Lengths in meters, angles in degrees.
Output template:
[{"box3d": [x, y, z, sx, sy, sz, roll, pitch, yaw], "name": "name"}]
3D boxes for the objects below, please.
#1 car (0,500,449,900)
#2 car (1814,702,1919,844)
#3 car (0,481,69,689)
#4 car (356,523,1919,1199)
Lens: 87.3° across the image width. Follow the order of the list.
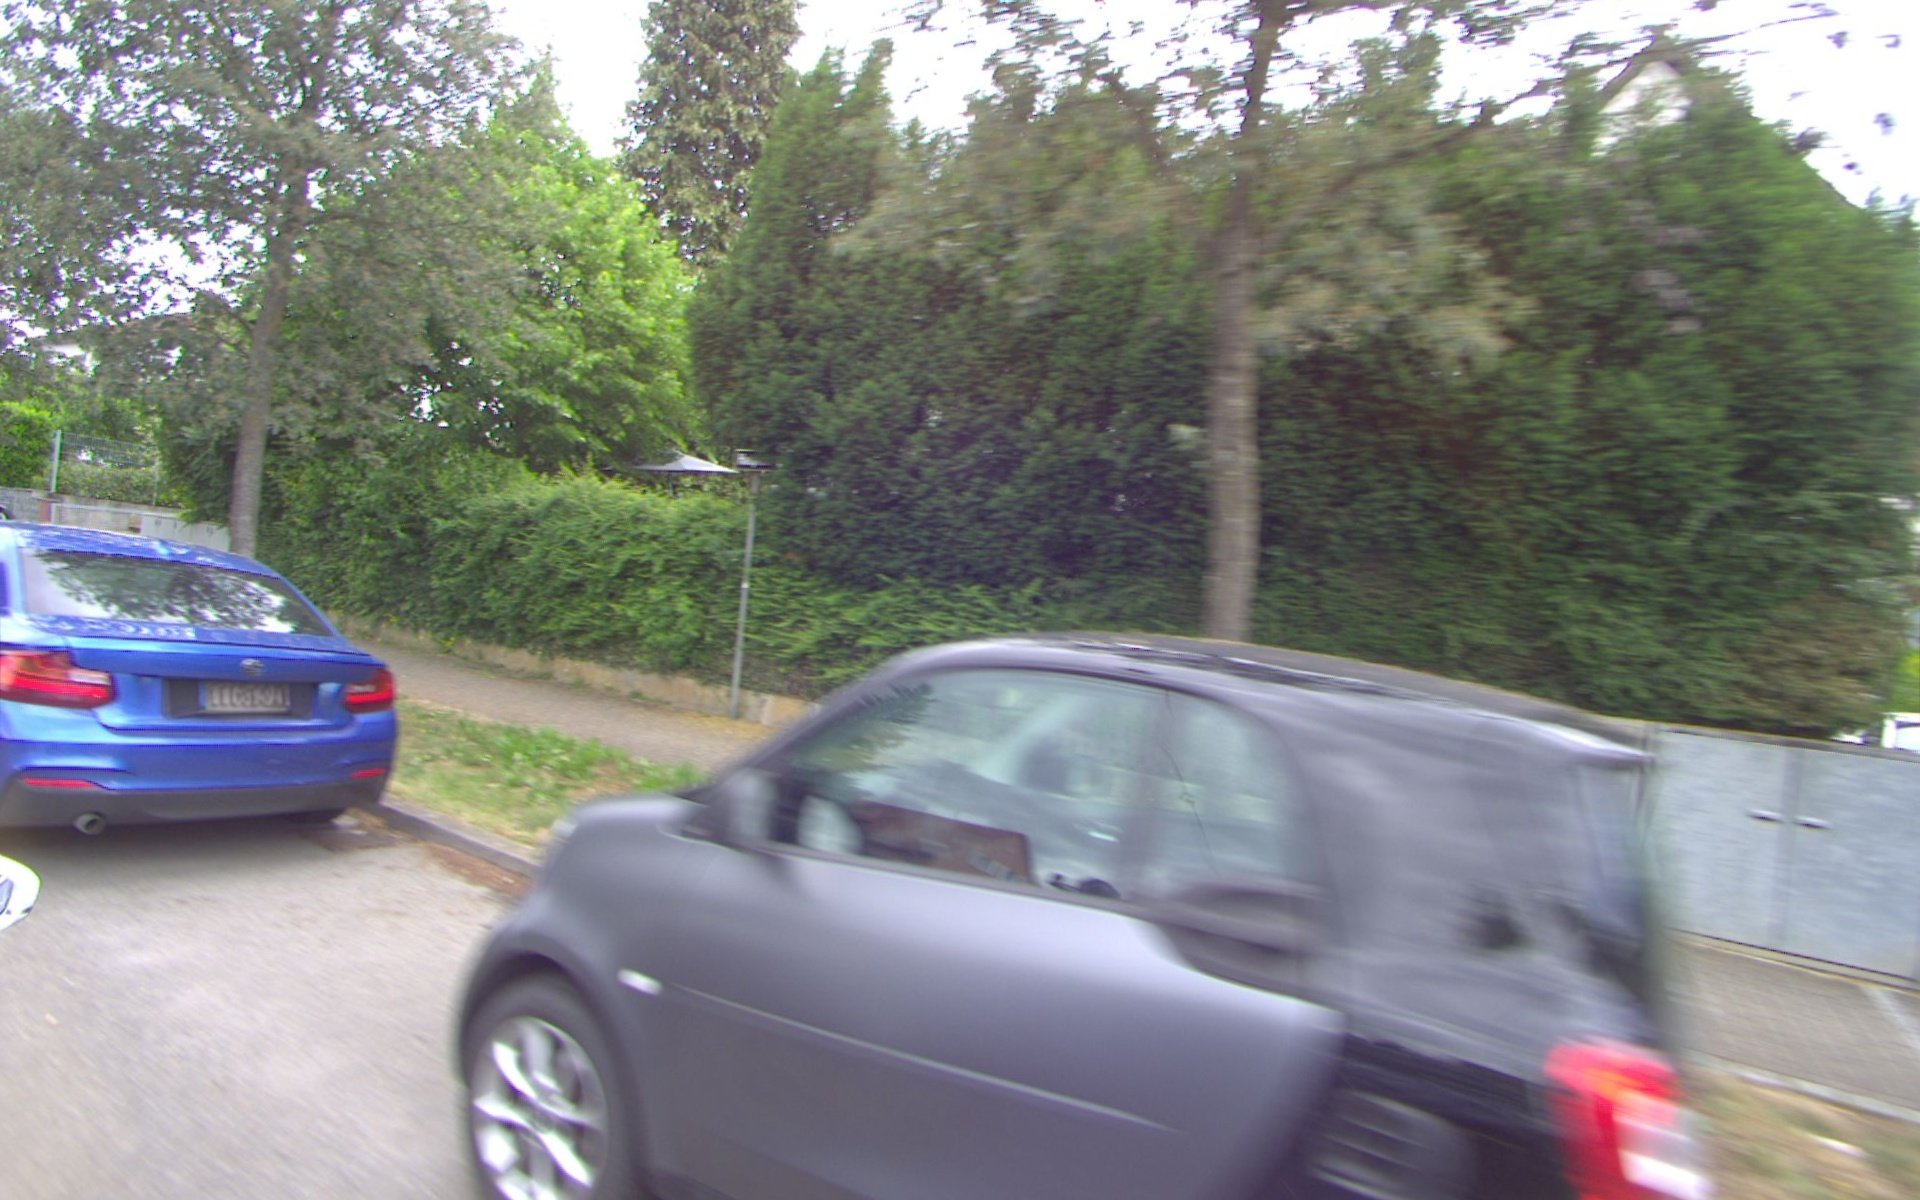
[{"box3d": [-4.905, 0.238, 5.462, 4.267, 1.450, 1.700, 7, -1, 31], "name": "car"}, {"box3d": [12.554, 2.213, 12.737, 1.770, 1.434, 3.992, 6, 1, 29], "name": "car"}, {"box3d": [-9.243, -0.329, 8.229, 3.888, 1.590, 1.697, 7, 1, 30], "name": "car"}, {"box3d": [0.825, 0.886, 2.004, 3.888, 1.576, 1.699, 7, -1, 30], "name": "car"}]
